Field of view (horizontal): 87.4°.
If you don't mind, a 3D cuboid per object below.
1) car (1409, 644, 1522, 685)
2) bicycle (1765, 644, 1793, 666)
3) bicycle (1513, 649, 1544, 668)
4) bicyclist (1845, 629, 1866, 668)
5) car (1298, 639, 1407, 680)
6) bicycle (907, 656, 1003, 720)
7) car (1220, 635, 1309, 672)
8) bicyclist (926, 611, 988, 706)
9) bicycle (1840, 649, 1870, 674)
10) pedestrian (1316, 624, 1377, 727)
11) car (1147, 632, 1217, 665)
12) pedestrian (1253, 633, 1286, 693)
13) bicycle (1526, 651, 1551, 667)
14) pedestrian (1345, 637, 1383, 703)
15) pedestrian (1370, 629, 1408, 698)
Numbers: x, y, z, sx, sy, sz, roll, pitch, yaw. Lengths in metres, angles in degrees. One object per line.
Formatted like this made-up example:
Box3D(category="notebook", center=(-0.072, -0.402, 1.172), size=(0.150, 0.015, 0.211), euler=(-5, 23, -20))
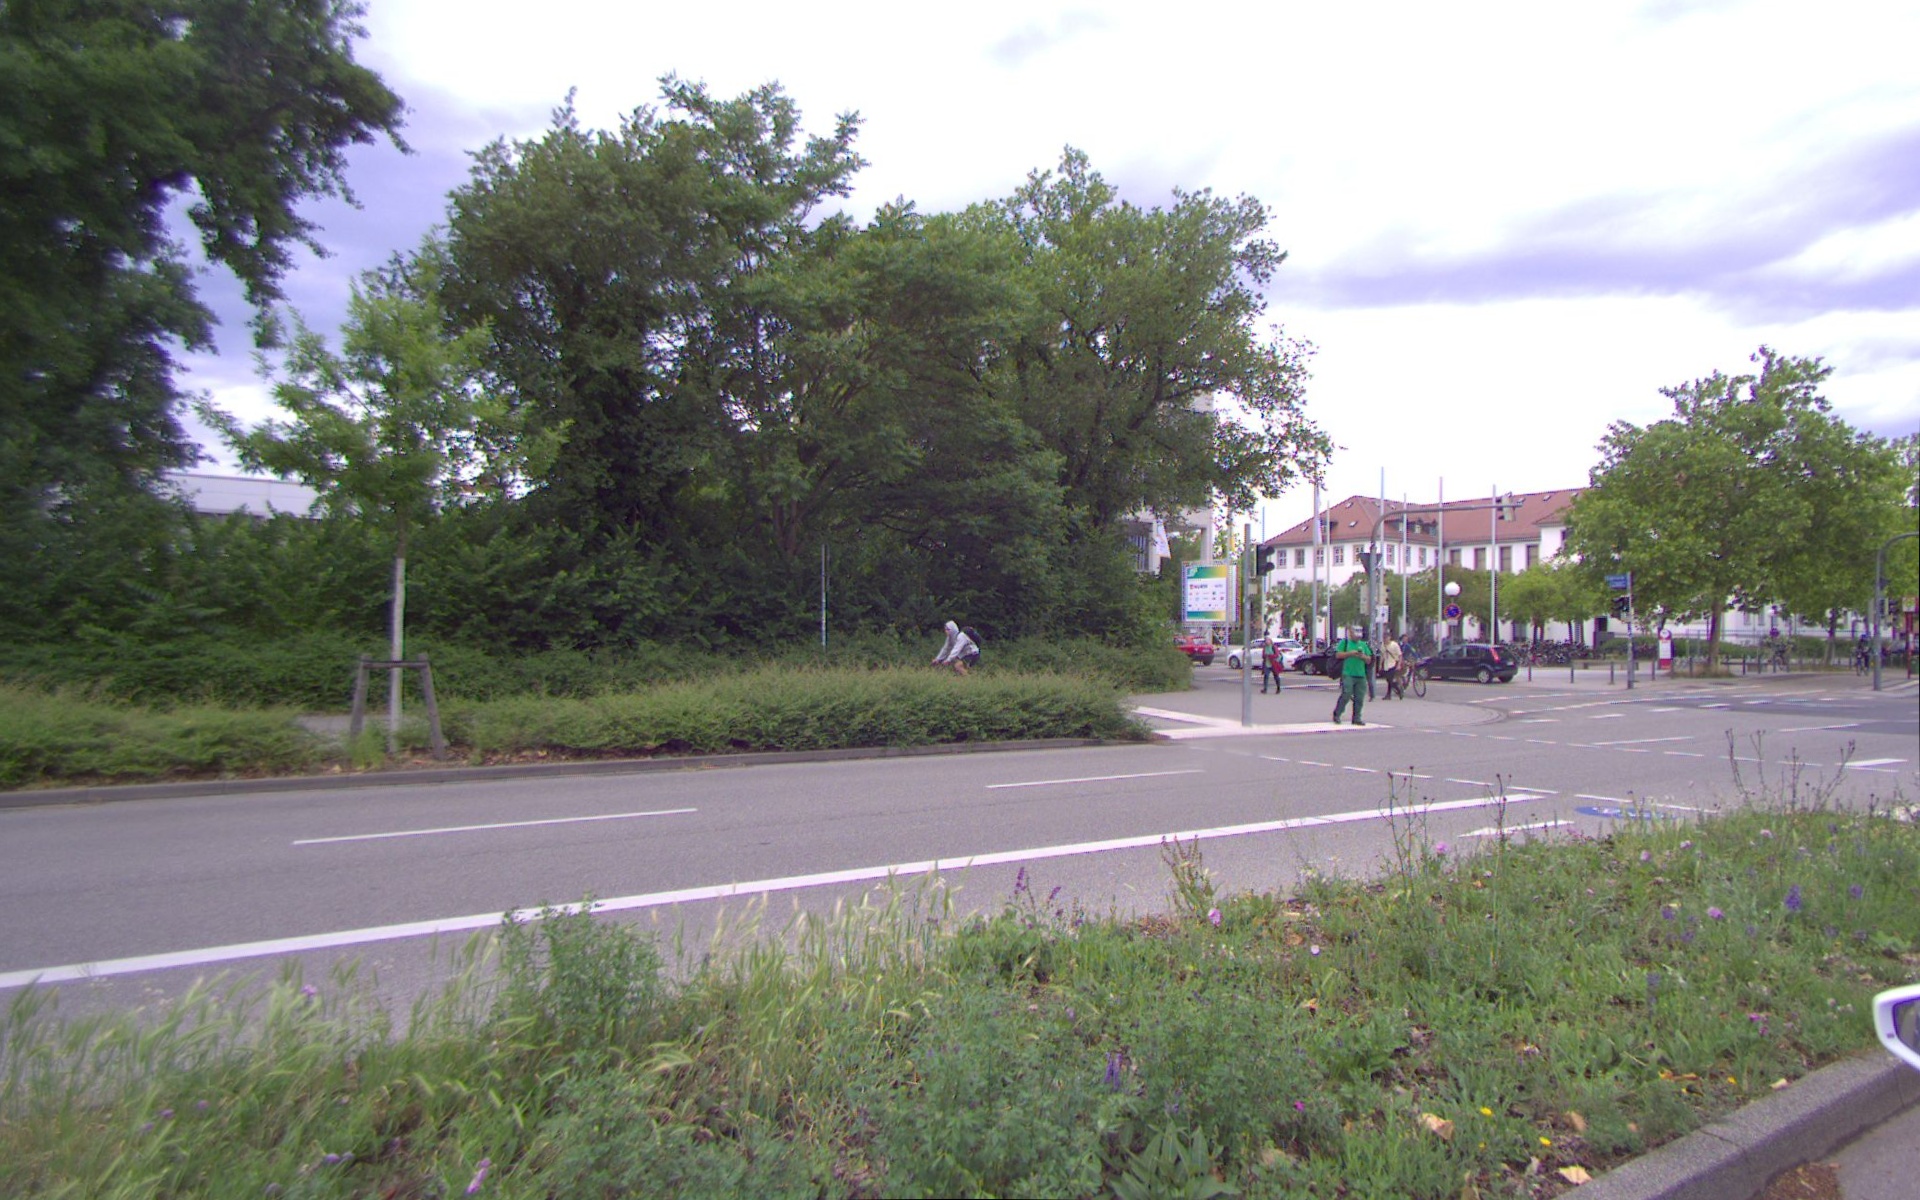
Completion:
Box3D(category="car", center=(19.697, 2.486, 39.231), size=(1.548, 1.240, 3.630), euler=(-7, 4, -35))
Box3D(category="bicycle", center=(40.966, 2.739, 50.219), size=(2.025, 1.074, 0.603), euler=(1, -3, -37))
Box3D(category="bicycle", center=(31.935, 3.272, 56.436), size=(1.385, 1.066, 0.586), euler=(-3, -3, 41))
Box3D(category="bicyclist", center=(37.880, 2.048, 42.497), size=(0.581, 1.647, 0.488), euler=(0, 1, -30))
Box3D(category="car", center=(16.638, 2.497, 42.689), size=(4.006, 1.472, 1.613), euler=(-2, 3, 43))
Box3D(category="bicycle", center=(-0.090, 1.546, 17.906), size=(1.593, 1.076, 0.666), euler=(1, 0, -16))
Box3D(category="car", center=(14.381, 2.498, 47.583), size=(1.667, 1.560, 3.857), euler=(-1, 0, -32))
Box3D(category="bicyclist", center=(-0.053, 1.029, 17.909), size=(0.945, 1.657, 0.666), euler=(1, 0, -16))
Box3D(category="bicycle", center=(37.883, 2.596, 42.507), size=(1.571, 1.019, 0.485), euler=(0, 1, -31))
Box3D(category="pedestrian", center=(7.056, 1.354, 18.369), size=(0.924, 1.782, 0.876), euler=(2, -1, 16))
Box3D(category="car", center=(11.390, 2.485, 51.681), size=(1.547, 1.499, 3.322), euler=(1, 0, -36))
Box3D(category="pedestrian", center=(8.298, 1.681, 26.912), size=(0.563, 1.545, 0.846), euler=(0, -6, 36))
Box3D(category="bicycle", center=(32.659, 3.335, 56.687), size=(1.191, 0.892, 0.263), euler=(-2, -3, 38))
Box3D(category="pedestrian", center=(10.051, 1.734, 25.010), size=(0.776, 1.578, 0.700), euler=(2, -4, 16))
Box3D(category="pedestrian", center=(11.480, 1.697, 26.879), size=(0.827, 1.761, 0.830), euler=(0, -5, 30))
